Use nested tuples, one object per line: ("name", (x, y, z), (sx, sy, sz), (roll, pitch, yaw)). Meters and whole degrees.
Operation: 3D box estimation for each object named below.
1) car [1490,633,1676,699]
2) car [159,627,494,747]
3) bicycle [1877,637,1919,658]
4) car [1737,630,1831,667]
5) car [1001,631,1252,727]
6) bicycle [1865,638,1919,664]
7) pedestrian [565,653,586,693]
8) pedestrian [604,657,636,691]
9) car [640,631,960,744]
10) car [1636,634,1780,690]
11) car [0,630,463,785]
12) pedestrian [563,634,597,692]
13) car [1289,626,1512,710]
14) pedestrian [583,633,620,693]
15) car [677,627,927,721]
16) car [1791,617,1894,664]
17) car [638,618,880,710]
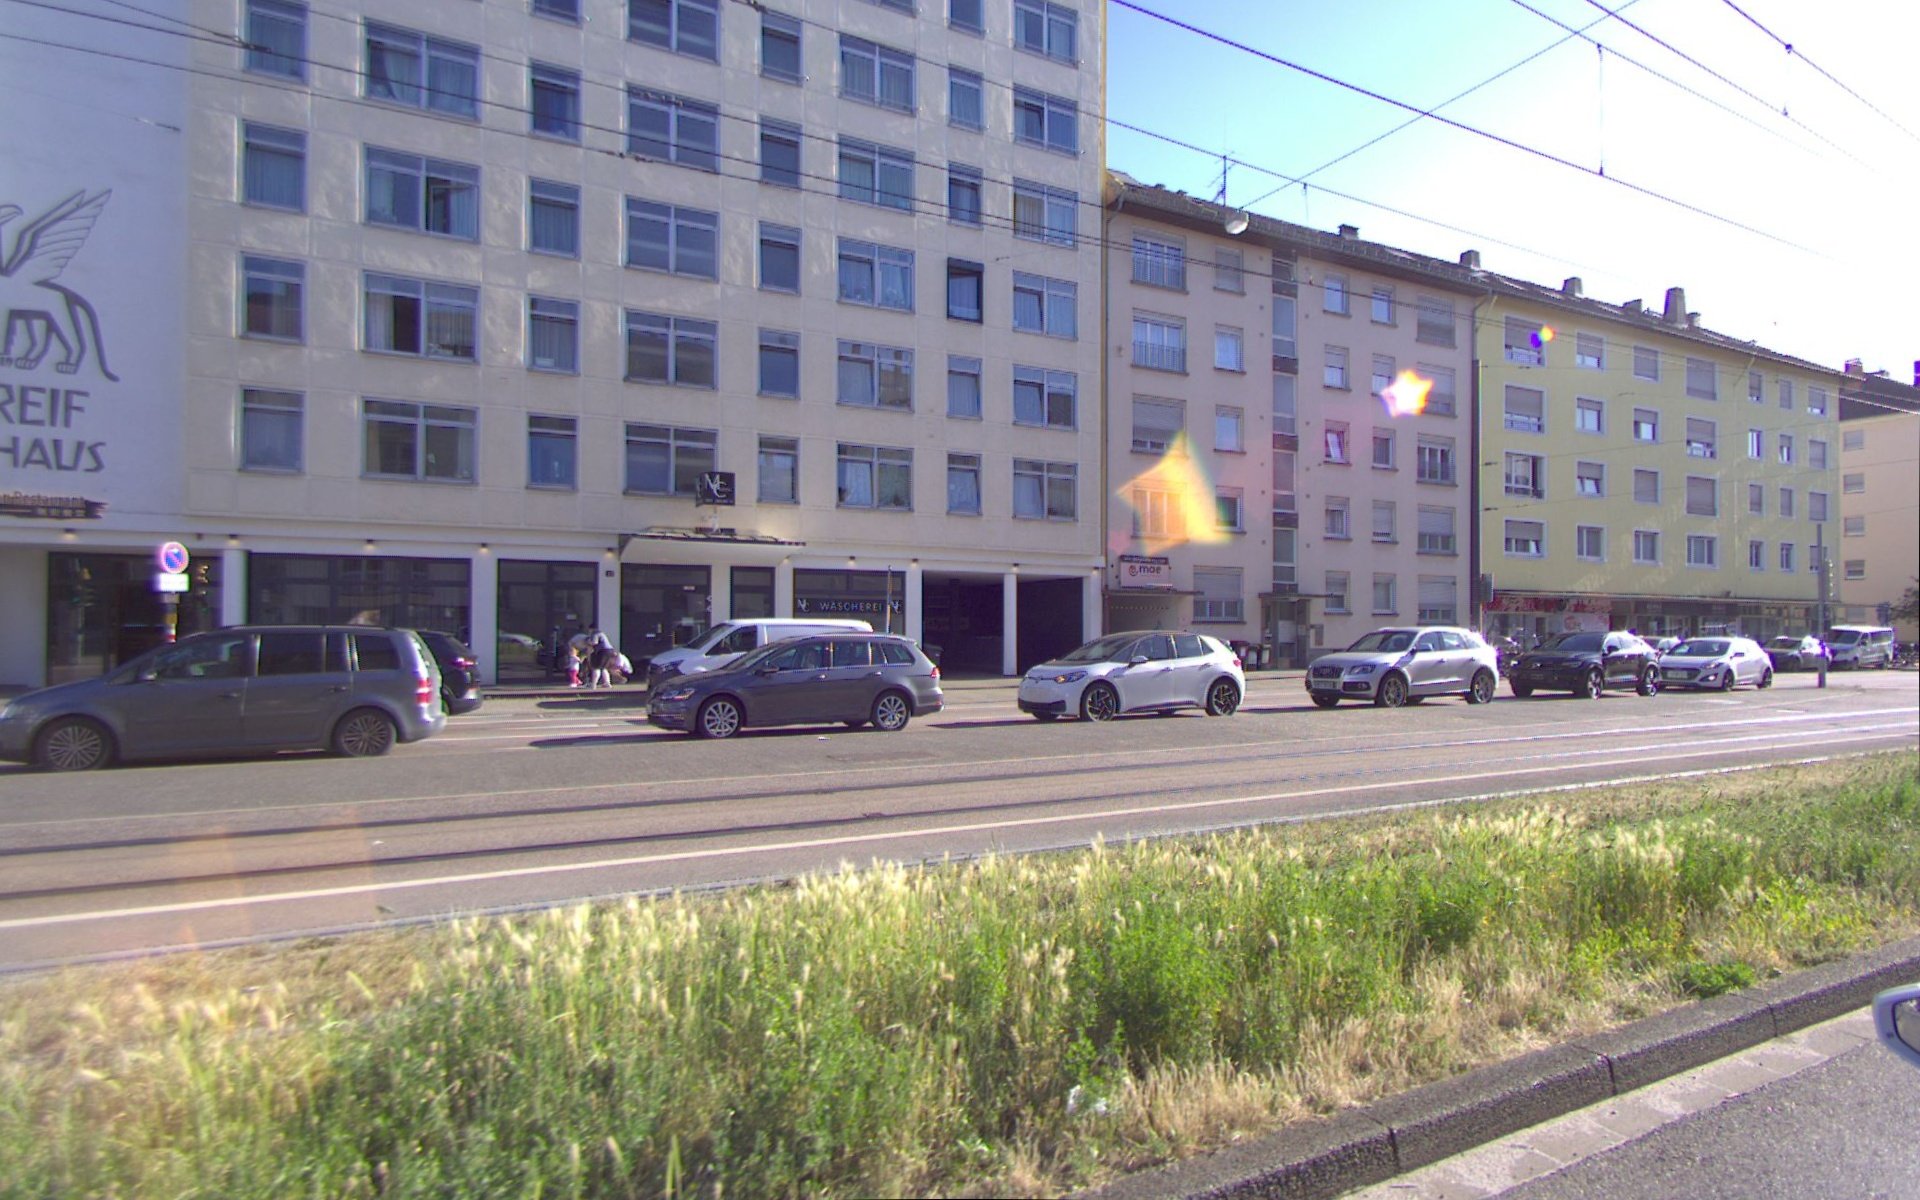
("car", (15.363, 1.596, 24.723), (4.513, 1.500, 1.955), (2, -3, -29))
("car", (-9.261, 1.246, 15.078), (3.996, 1.596, 1.782), (2, -3, -29))
("bicycle", (47.634, 2.371, 50.571), (0.797, 1.035, 2.057), (4, -4, -39))
("car", (36.792, 2.179, 44.858), (3.863, 1.507, 1.760), (3, -3, -25))
("car", (2.988, 1.355, 17.819), (4.192, 1.535, 1.831), (2, -3, -29))
("bicycle", (45.975, 2.521, 49.536), (1.939, 1.222, 0.694), (-1, -4, 37))
("pedestrian", (-9.235, 1.750, 24.127), (0.304, 0.928, 0.323), (-1, -3, 37))
("pedestrian", (-8.438, 1.839, 24.929), (0.572, 0.819, 0.522), (4, -4, -41))
("car", (-2.394, 1.265, 15.240), (4.481, 1.510, 1.813), (2, -3, -26))
("car", (21.034, 1.729, 28.212), (4.237, 1.465, 1.813), (2, -3, -32))
("car", (-8.403, 1.182, 11.918), (4.393, 1.568, 1.925), (2, -3, -26))
("pedestrian", (-9.293, 1.540, 24.591), (0.598, 1.394, 0.494), (4, -4, -41))
("car", (9.297, 1.380, 21.132), (4.573, 1.597, 1.858), (1, -4, -29))
("pedestrian", (-8.542, 1.490, 23.945), (0.675, 1.394, 0.526), (-1, -4, 41))
("car", (-2.963, 1.359, 18.956), (4.270, 1.596, 1.975), (2, -3, -29))
("car", (42.059, 1.945, 47.827), (5.240, 2.133, 1.995), (1, -3, -29))
("car", (-4.671, 1.423, 23.548), (5.258, 1.894, 1.935), (1, 1, -28))
